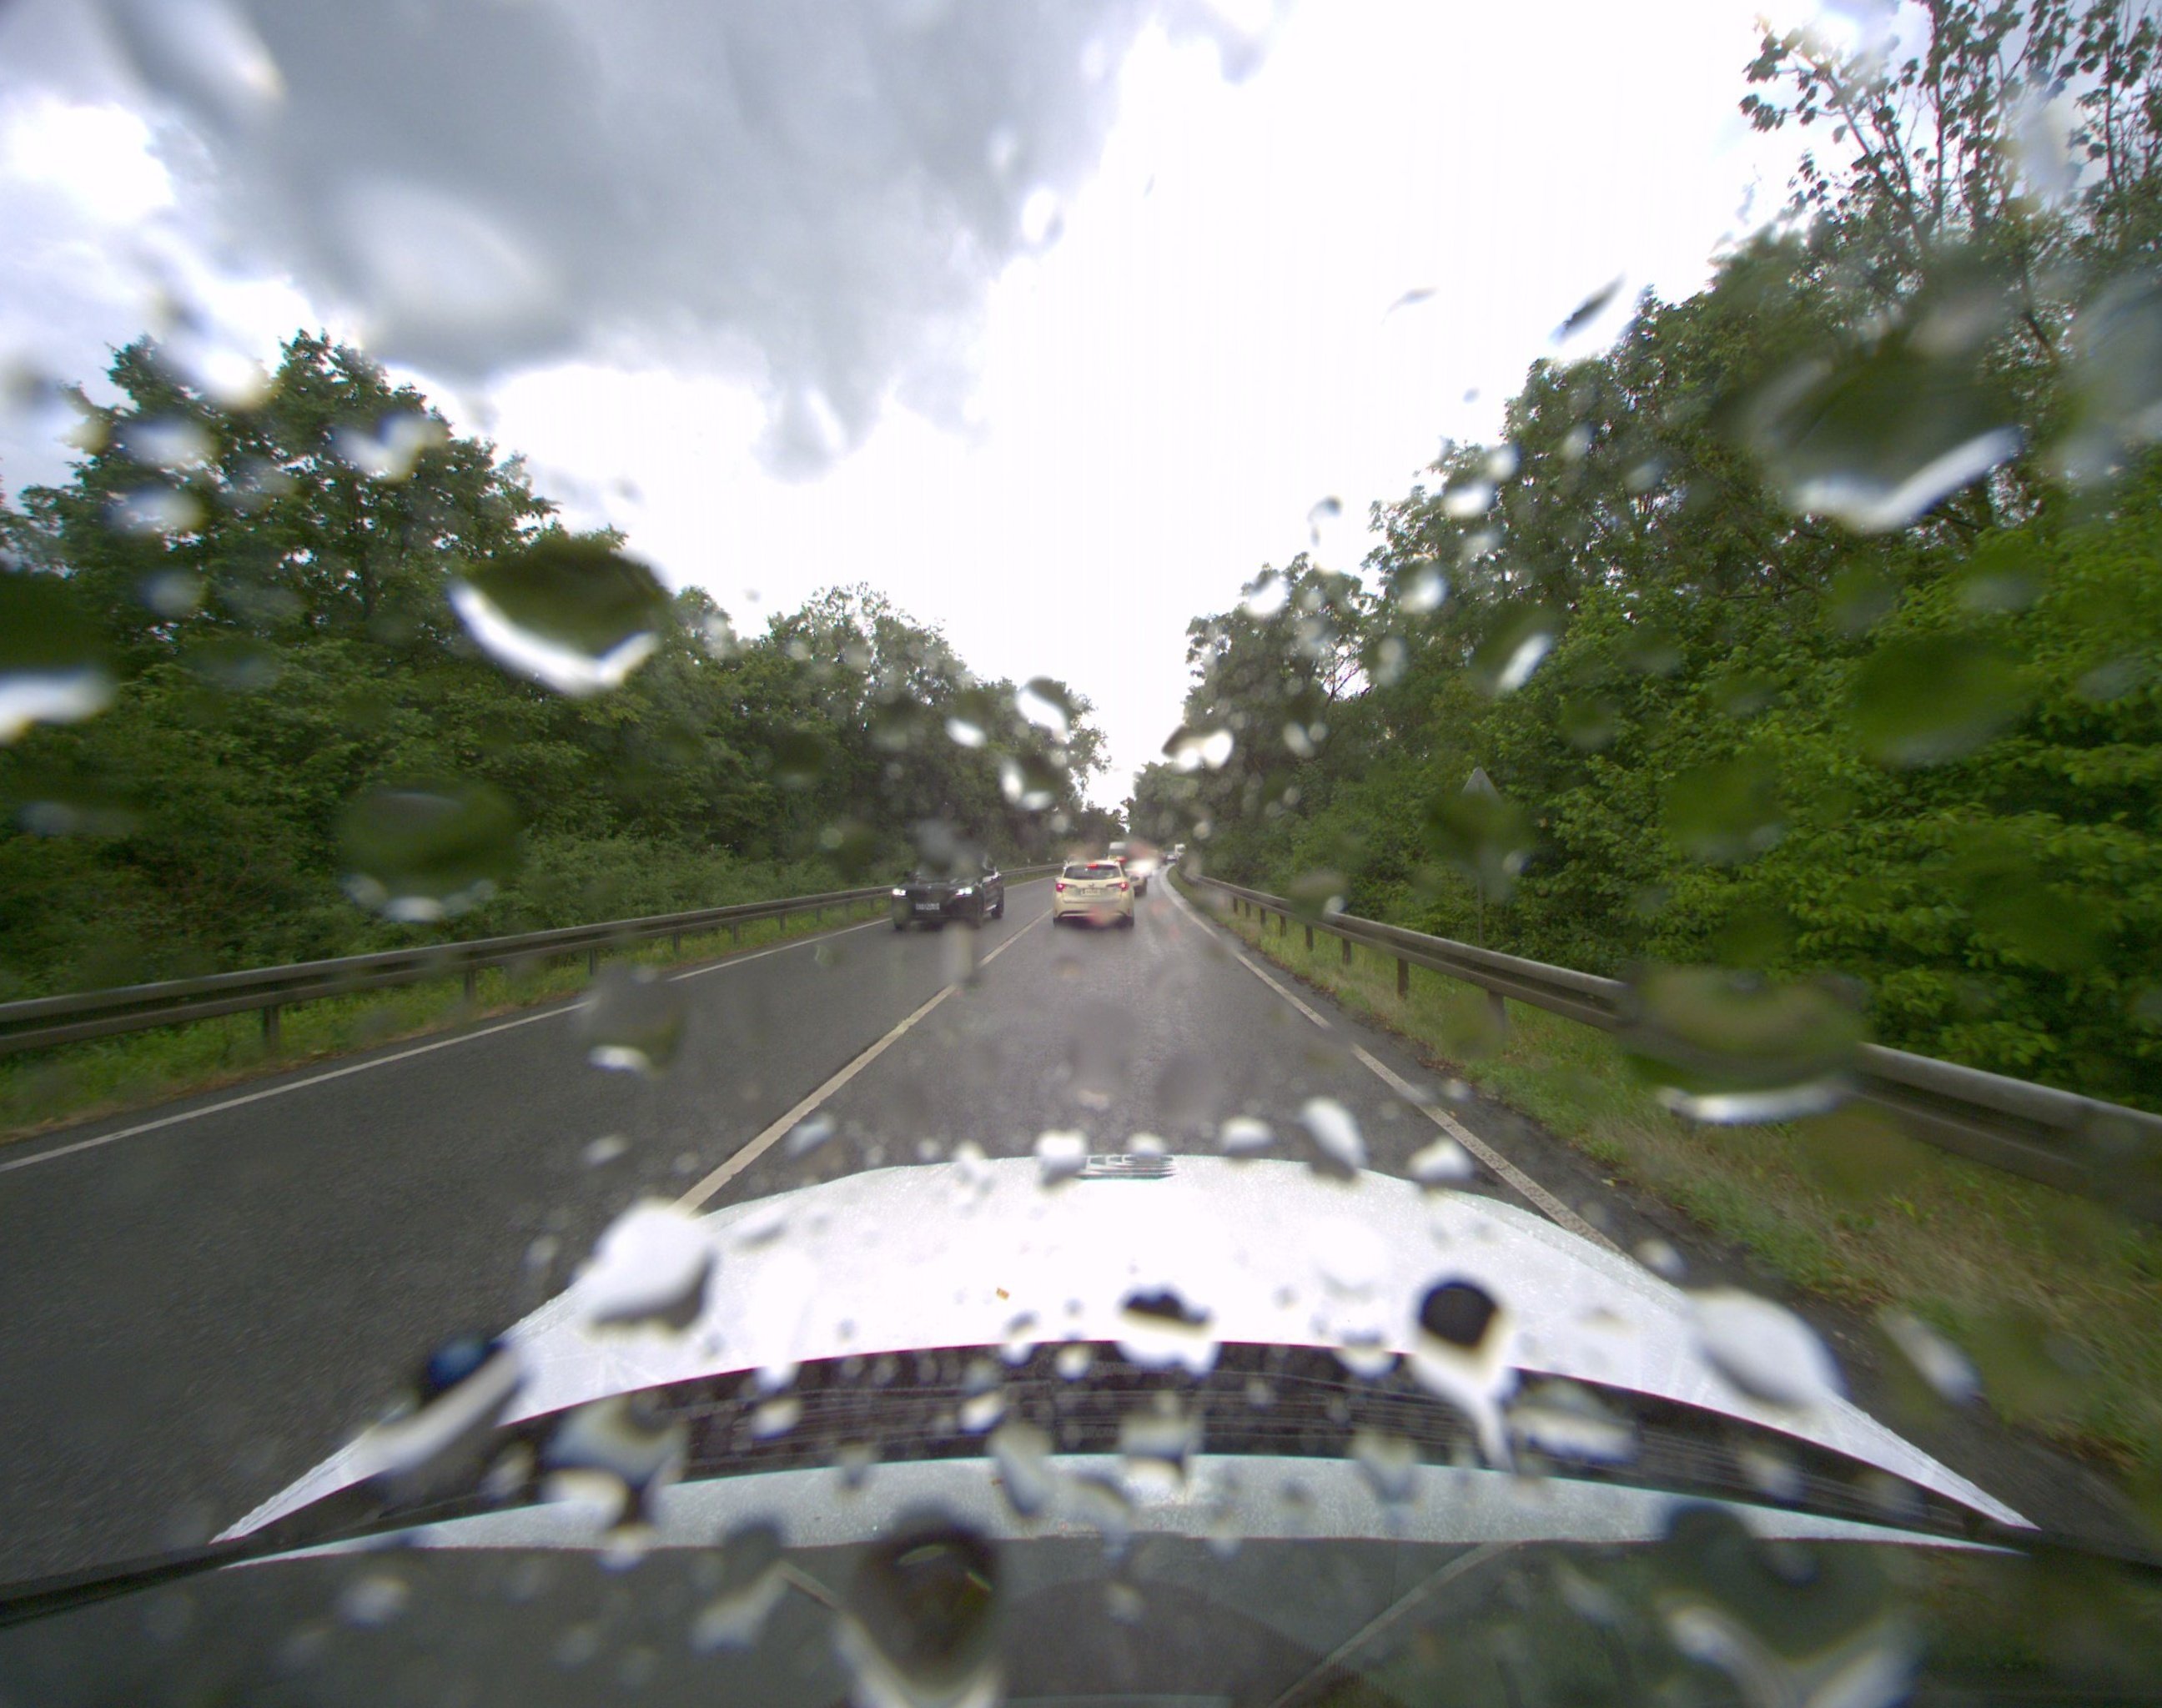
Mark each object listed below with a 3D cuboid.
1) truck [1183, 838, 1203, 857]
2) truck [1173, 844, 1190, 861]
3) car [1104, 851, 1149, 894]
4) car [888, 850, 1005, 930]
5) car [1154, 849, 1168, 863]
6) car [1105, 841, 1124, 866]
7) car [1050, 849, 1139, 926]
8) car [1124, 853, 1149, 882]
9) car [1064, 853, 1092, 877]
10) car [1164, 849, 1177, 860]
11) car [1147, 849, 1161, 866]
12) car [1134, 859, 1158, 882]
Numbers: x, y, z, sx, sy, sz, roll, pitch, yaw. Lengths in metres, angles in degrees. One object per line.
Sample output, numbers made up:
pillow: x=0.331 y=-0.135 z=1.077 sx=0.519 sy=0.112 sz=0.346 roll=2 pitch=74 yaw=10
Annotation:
truck: x=22.505 y=-1.323 z=163.622 sx=3.084 sy=3.680 sz=7.027 roll=-1 pitch=-1 yaw=15
truck: x=16.982 y=-0.226 z=137.961 sx=2.538 sy=2.713 sz=7.544 roll=0 pitch=-1 yaw=5
car: x=1.792 y=0.716 z=32.348 sx=1.660 sy=1.580 sz=3.895 roll=0 pitch=-1 yaw=3
car: x=-2.966 y=0.741 z=18.889 sx=1.840 sy=1.644 sz=4.300 roll=0 pitch=0 yaw=2
car: x=9.492 y=0.270 z=96.614 sx=1.608 sy=1.613 sz=3.627 roll=0 pitch=-1 yaw=6
car: x=3.831 y=-0.013 z=92.176 sx=2.039 sy=2.677 sz=6.176 roll=-1 pitch=-1 yaw=3
car: x=0.361 y=0.714 z=18.847 sx=1.827 sy=1.580 sz=4.158 roll=0 pitch=-1 yaw=2
car: x=3.038 y=0.748 z=44.722 sx=1.295 sy=1.547 sz=3.262 roll=0 pitch=-1 yaw=3
car: x=-0.179 y=0.750 z=56.699 sx=1.684 sy=1.555 sz=4.446 roll=0 pitch=0 yaw=3
car: x=12.738 y=0.133 z=115.763 sx=1.759 sy=1.547 sz=3.823 roll=0 pitch=-1 yaw=8
car: x=7.018 y=0.360 z=78.148 sx=1.161 sy=1.547 sz=2.609 roll=0 pitch=-1 yaw=7
car: x=4.582 y=1.174 z=57.513 sx=1.604 sy=1.547 sz=3.818 roll=-1 pitch=-1 yaw=4
